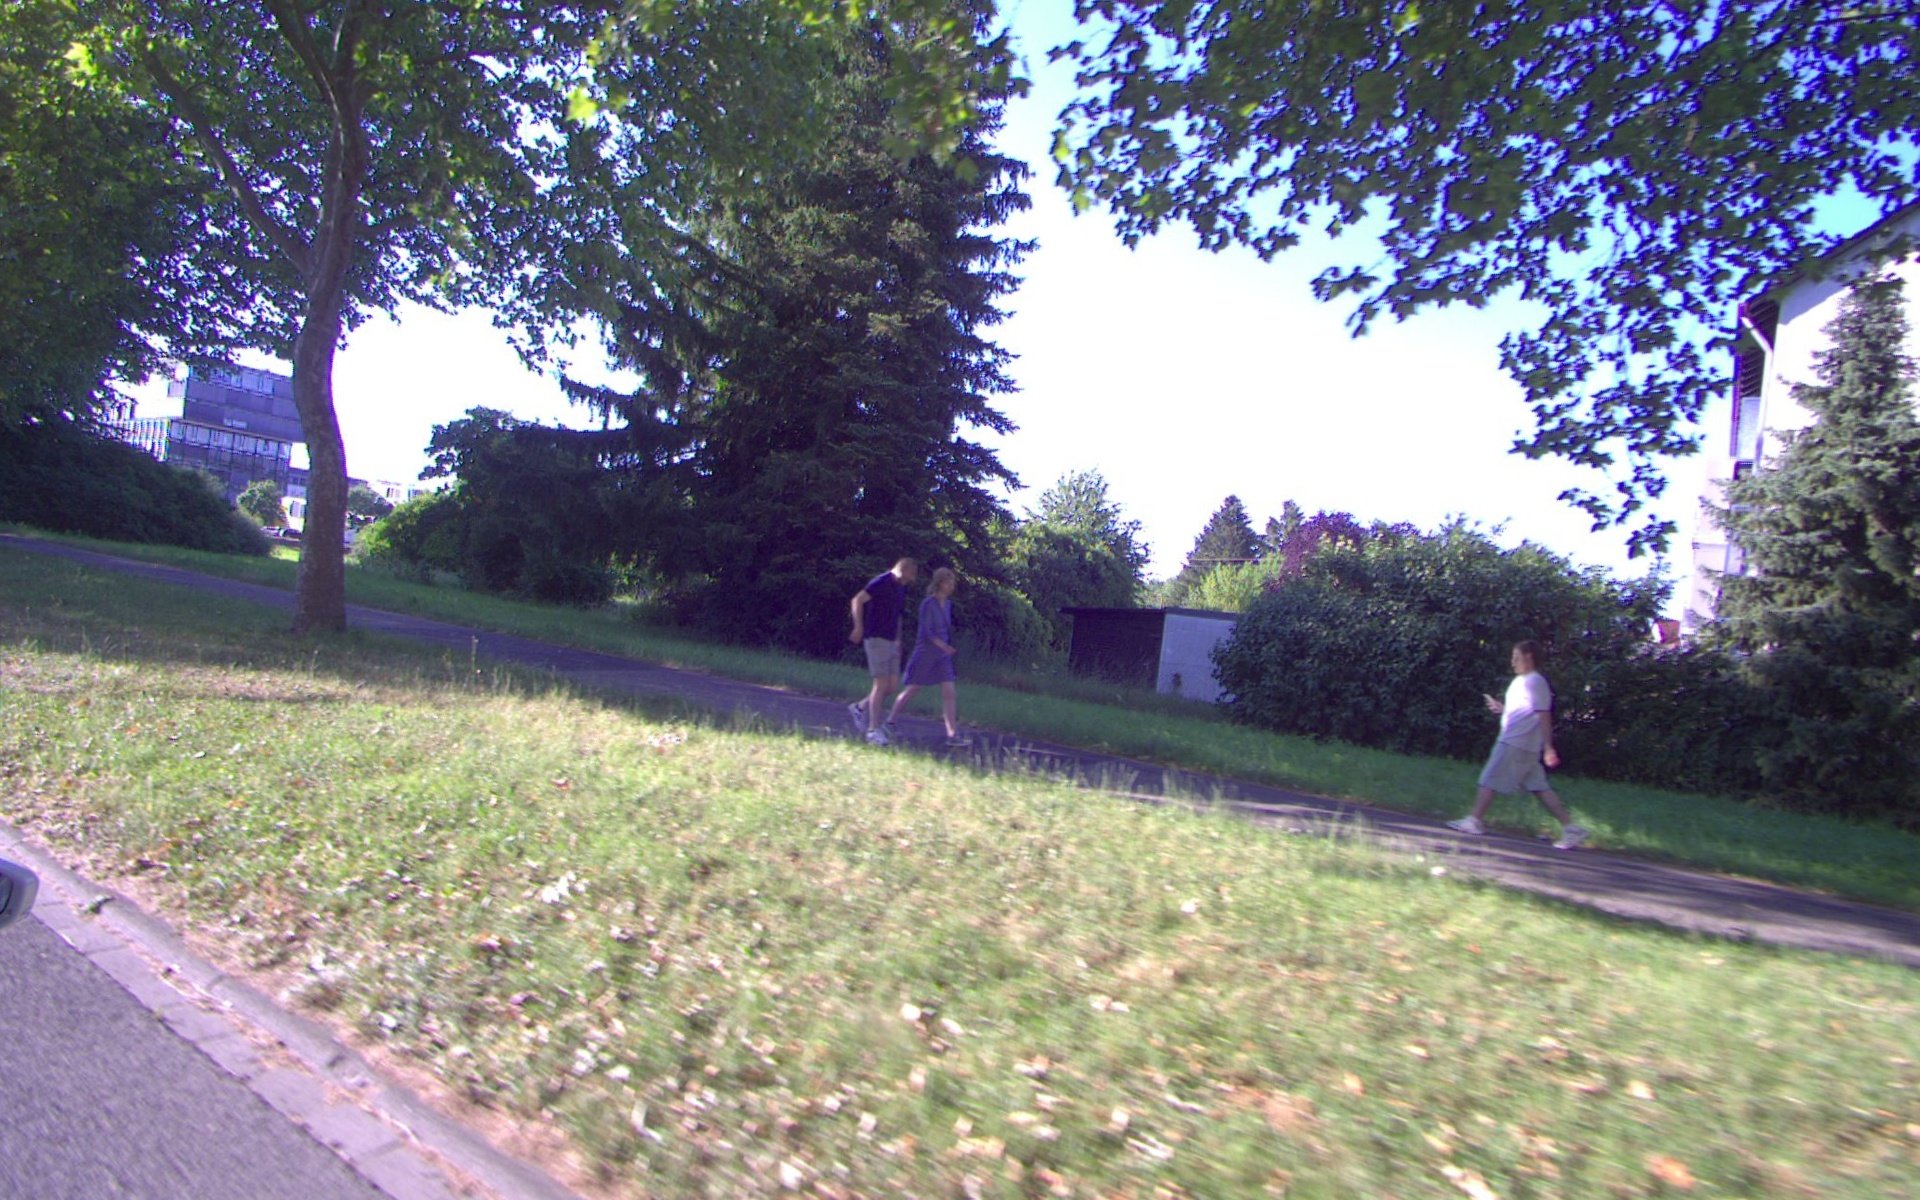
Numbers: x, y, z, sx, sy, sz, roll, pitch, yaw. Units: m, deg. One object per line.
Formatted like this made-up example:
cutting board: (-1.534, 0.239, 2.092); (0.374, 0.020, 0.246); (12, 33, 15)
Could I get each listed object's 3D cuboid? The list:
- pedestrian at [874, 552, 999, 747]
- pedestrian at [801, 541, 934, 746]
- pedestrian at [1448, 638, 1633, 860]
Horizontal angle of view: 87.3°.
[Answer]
pedestrian: (-0.239, 0.509, 10.378); (0.790, 1.870, 0.755); (7, 0, 35)
pedestrian: (-0.902, 0.424, 9.858); (0.775, 1.868, 0.762); (7, 0, 35)
pedestrian: (4.879, 1.219, 8.525); (0.921, 1.670, 0.782); (7, 1, 1)
